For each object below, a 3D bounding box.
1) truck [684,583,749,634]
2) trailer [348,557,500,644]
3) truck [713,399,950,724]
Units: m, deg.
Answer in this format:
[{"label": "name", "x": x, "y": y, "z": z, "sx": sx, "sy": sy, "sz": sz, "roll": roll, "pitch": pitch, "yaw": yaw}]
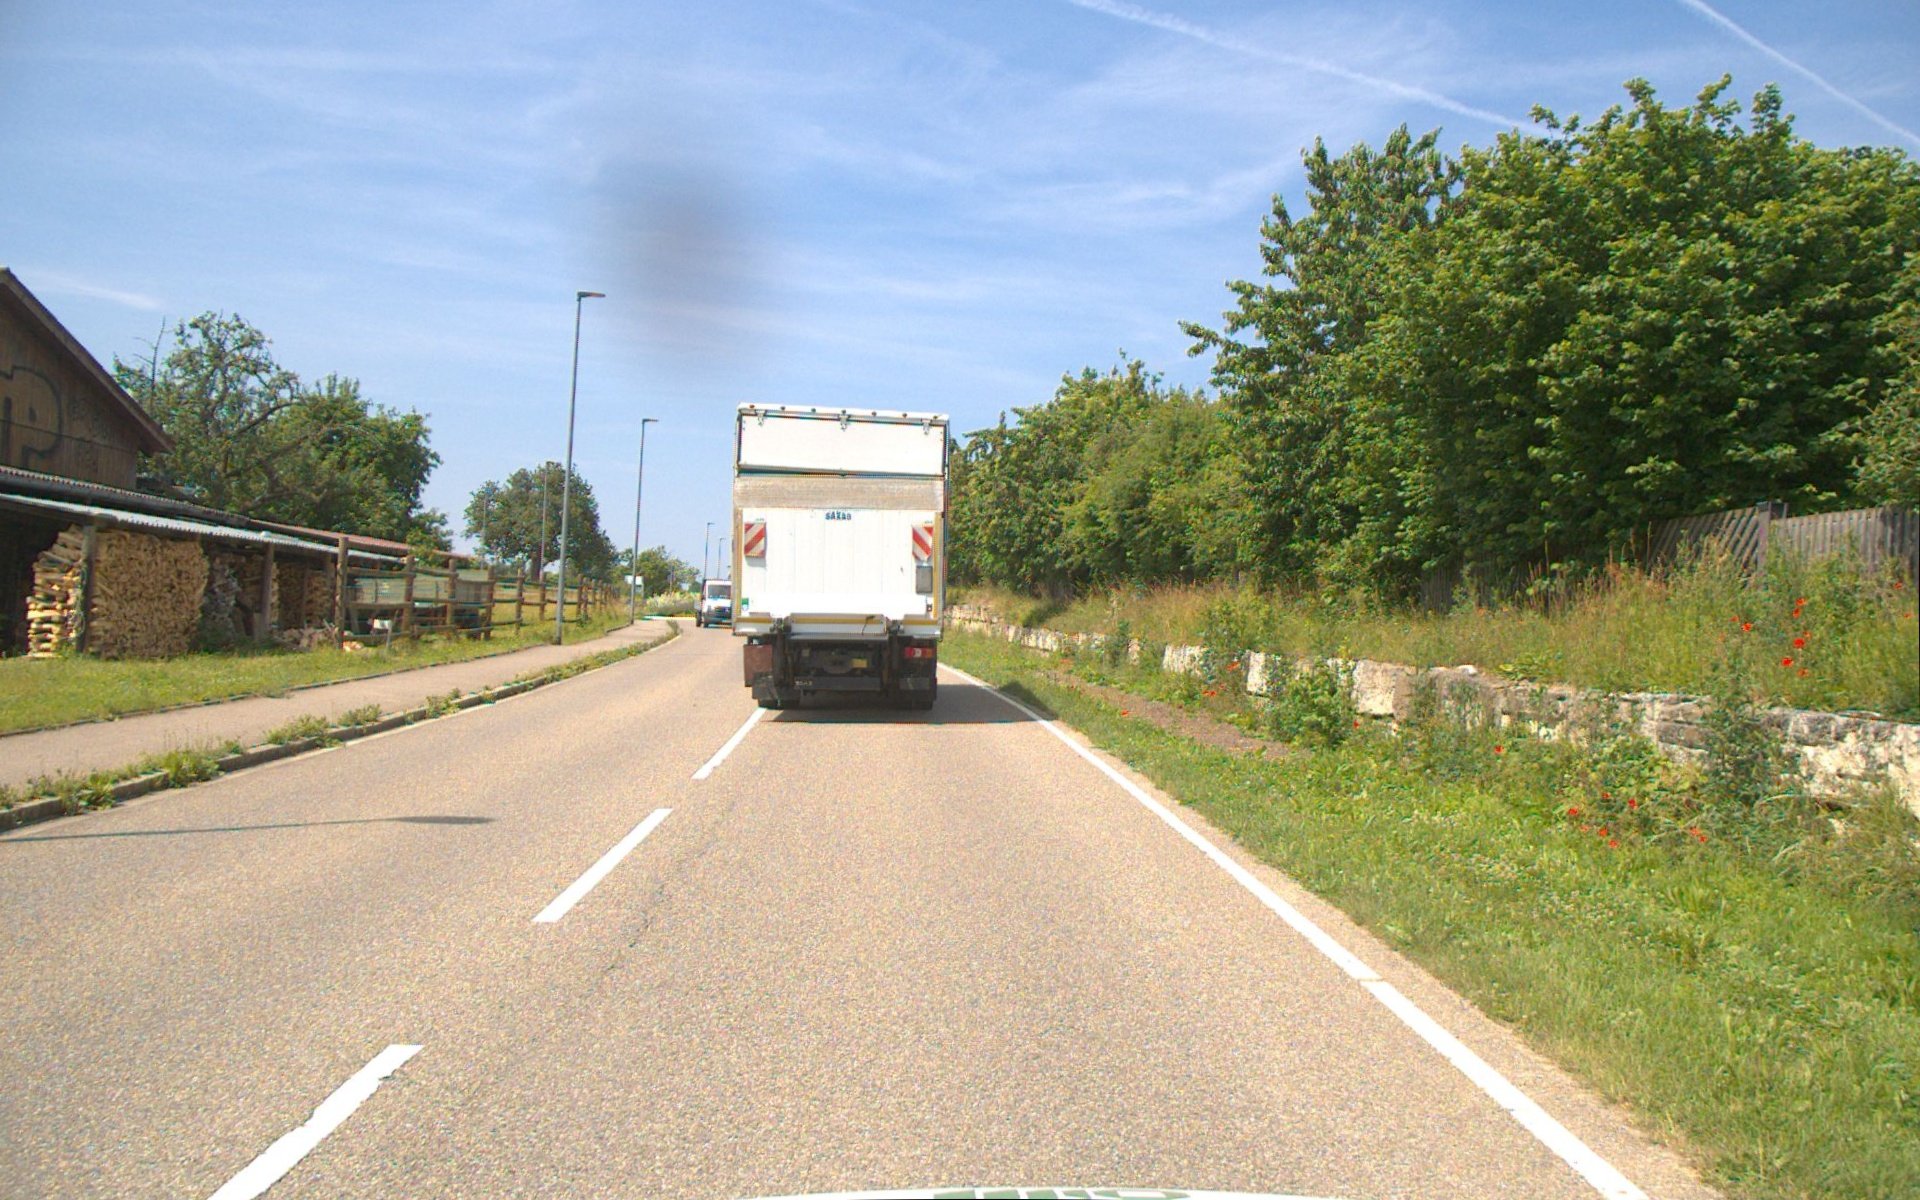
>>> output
[{"label": "truck", "x": -11.948, "y": 0.385, "z": 80.799, "sx": 2.187, "sy": 2.333, "sz": 6.460, "roll": 2, "pitch": 0, "yaw": -17}, {"label": "trailer", "x": -11.738, "y": 0.016, "z": 36.595, "sx": 2.113, "sy": 1.733, "sz": 5.023, "roll": 1, "pitch": 0, "yaw": -6}, {"label": "truck", "x": -1.615, "y": -0.438, "z": 23.857, "sx": 2.711, "sy": 3.735, "sz": 9.379, "roll": 0, "pitch": 0, "yaw": -2}]
